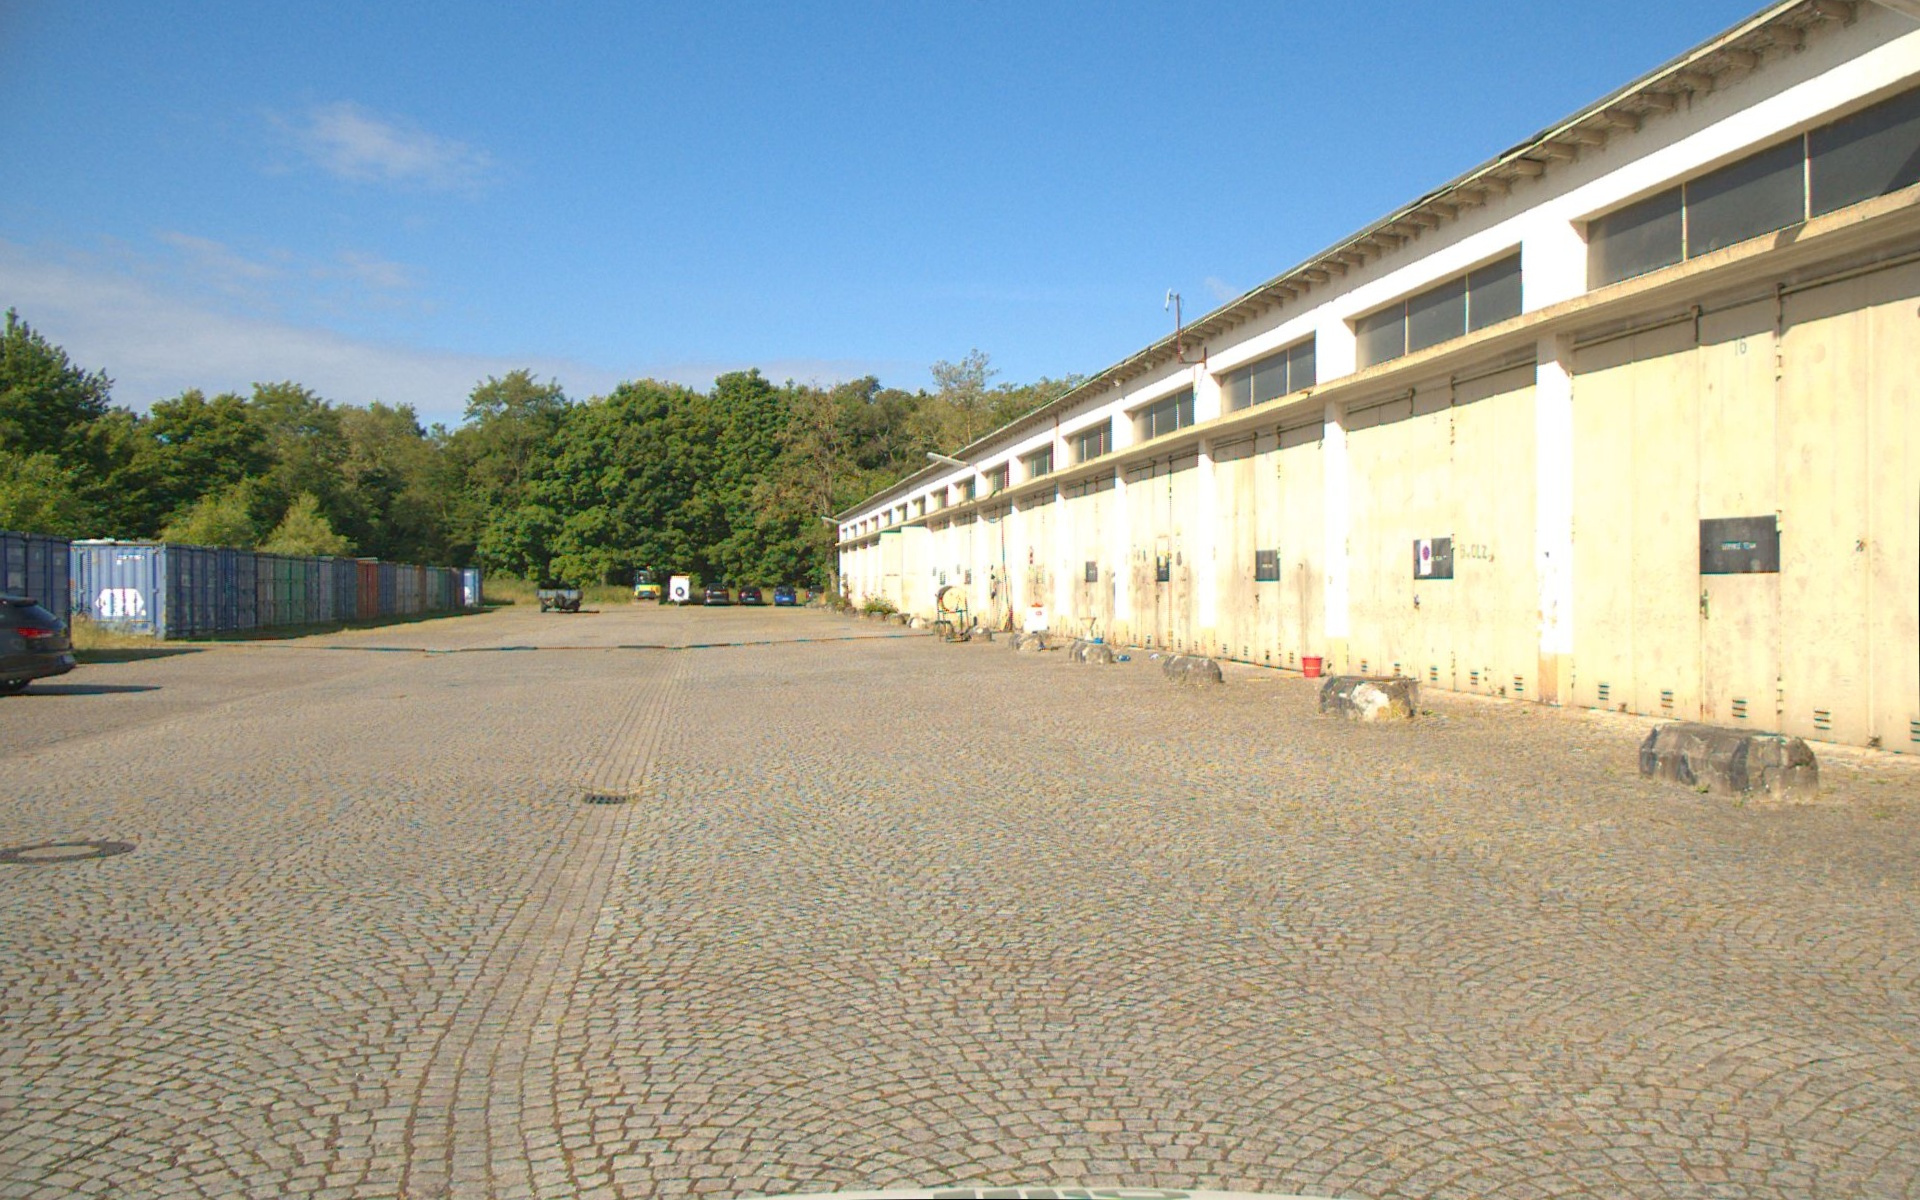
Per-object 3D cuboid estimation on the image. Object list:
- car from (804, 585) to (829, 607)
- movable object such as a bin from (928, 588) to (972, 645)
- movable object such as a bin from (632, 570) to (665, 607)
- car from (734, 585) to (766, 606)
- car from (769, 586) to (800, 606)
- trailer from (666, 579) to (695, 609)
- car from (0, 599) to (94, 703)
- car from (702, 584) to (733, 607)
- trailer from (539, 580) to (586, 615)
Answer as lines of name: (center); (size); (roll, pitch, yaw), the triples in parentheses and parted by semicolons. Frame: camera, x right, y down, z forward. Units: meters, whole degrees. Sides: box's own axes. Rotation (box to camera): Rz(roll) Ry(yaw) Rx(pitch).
car: (-10.815, -0.311, 124.549); (1.651, 1.591, 3.998); (-1, 0, -2)
movable object such as a bin: (-0.248, 0.397, 40.361); (0.809, 1.355, 1.276); (-1, 0, -14)
movable object such as a bin: (-23.115, -0.835, 122.919); (1.955, 2.664, 3.996); (1, 0, -5)
car: (-15.546, -0.314, 122.386); (1.953, 1.488, 3.998); (-1, 0, -2)
car: (-12.996, -0.289, 122.813); (1.953, 1.445, 3.998); (-1, 0, -2)
trailer: (-20.748, -0.452, 123.036); (1.759, 2.126, 3.967); (-1, 0, -5)
car: (-14.651, 0.697, 23.333); (3.982, 1.437, 1.725); (0, 0, -15)
car: (-17.849, -0.359, 121.805); (1.824, 1.613, 3.998); (-1, 0, -2)
trailer: (-24.725, -0.147, 103.010); (2.361, 2.049, 4.167); (1, 0, -7)
